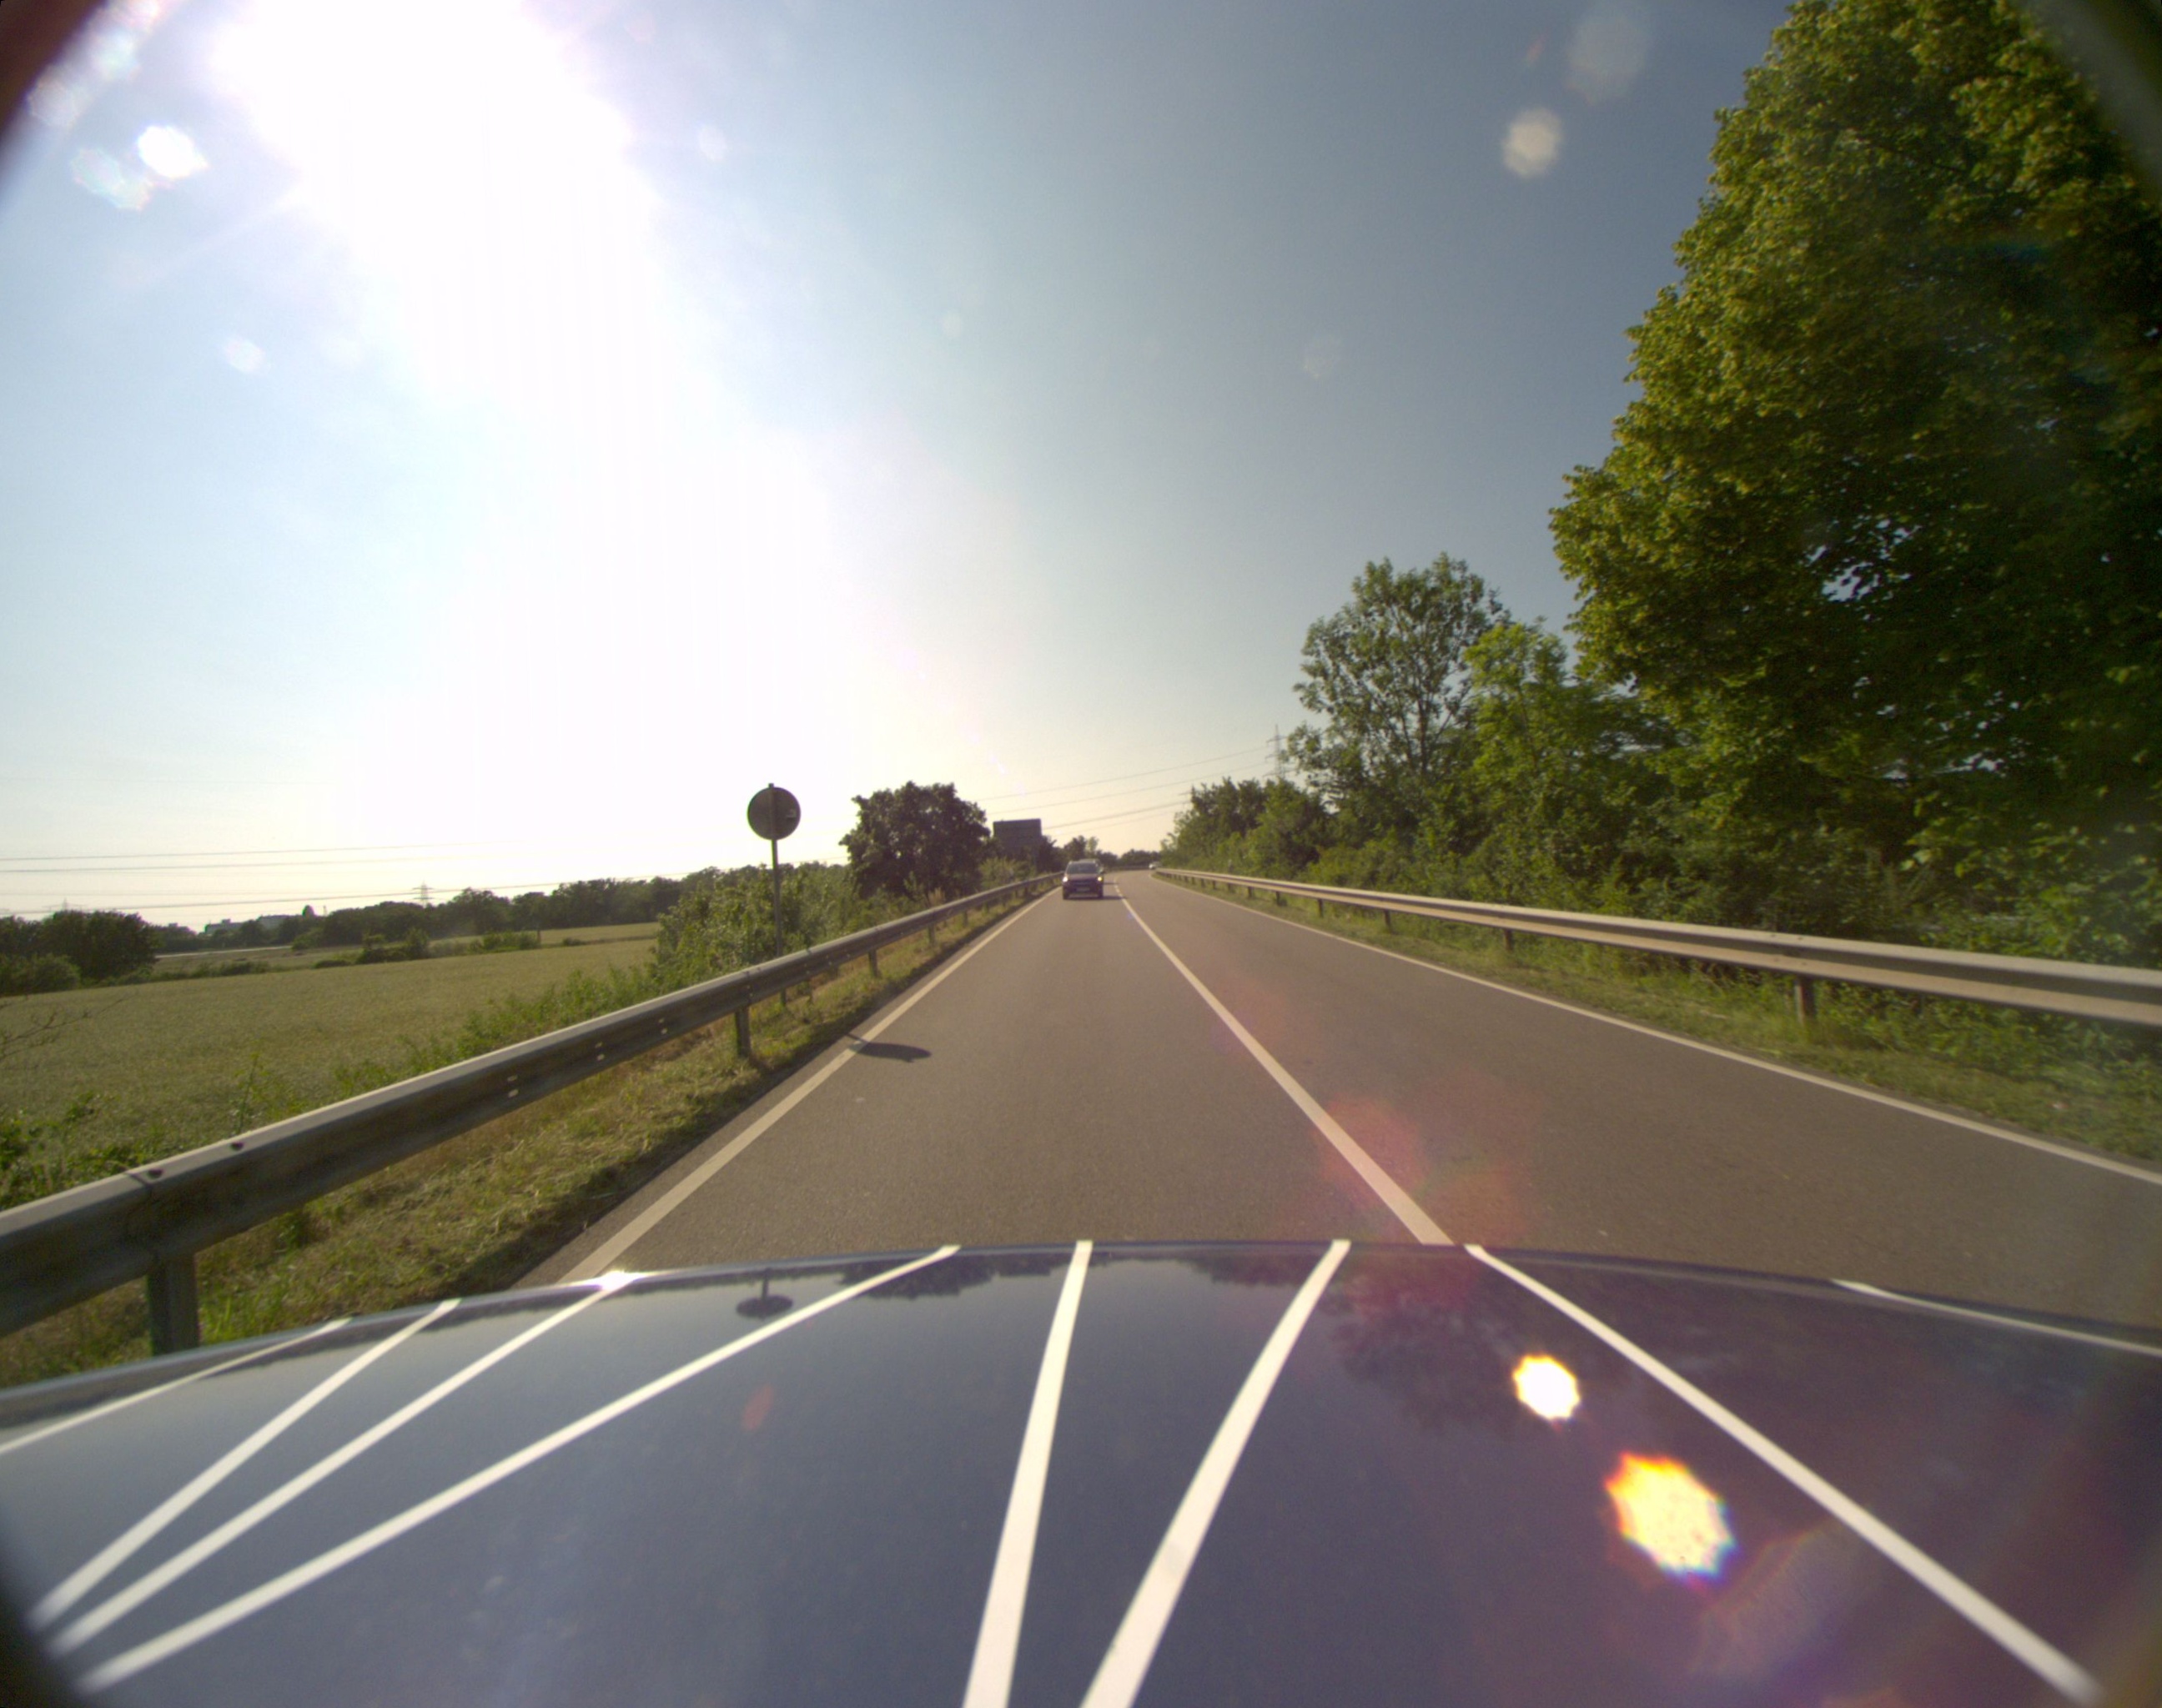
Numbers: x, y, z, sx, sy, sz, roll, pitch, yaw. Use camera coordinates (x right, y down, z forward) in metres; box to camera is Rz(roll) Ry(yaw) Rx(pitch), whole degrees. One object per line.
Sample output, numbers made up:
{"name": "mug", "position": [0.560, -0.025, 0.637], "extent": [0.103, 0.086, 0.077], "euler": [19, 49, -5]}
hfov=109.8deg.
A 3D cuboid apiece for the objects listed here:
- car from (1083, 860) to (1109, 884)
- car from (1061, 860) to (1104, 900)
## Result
{"name": "car", "position": [1.020, 1.176, 50.846], "extent": [1.606, 1.486, 4.001], "euler": [-2, 0, 3]}
{"name": "car", "position": [0.092, 1.017, 31.373], "extent": [1.606, 1.486, 4.000], "euler": [-2, 0, 1]}
